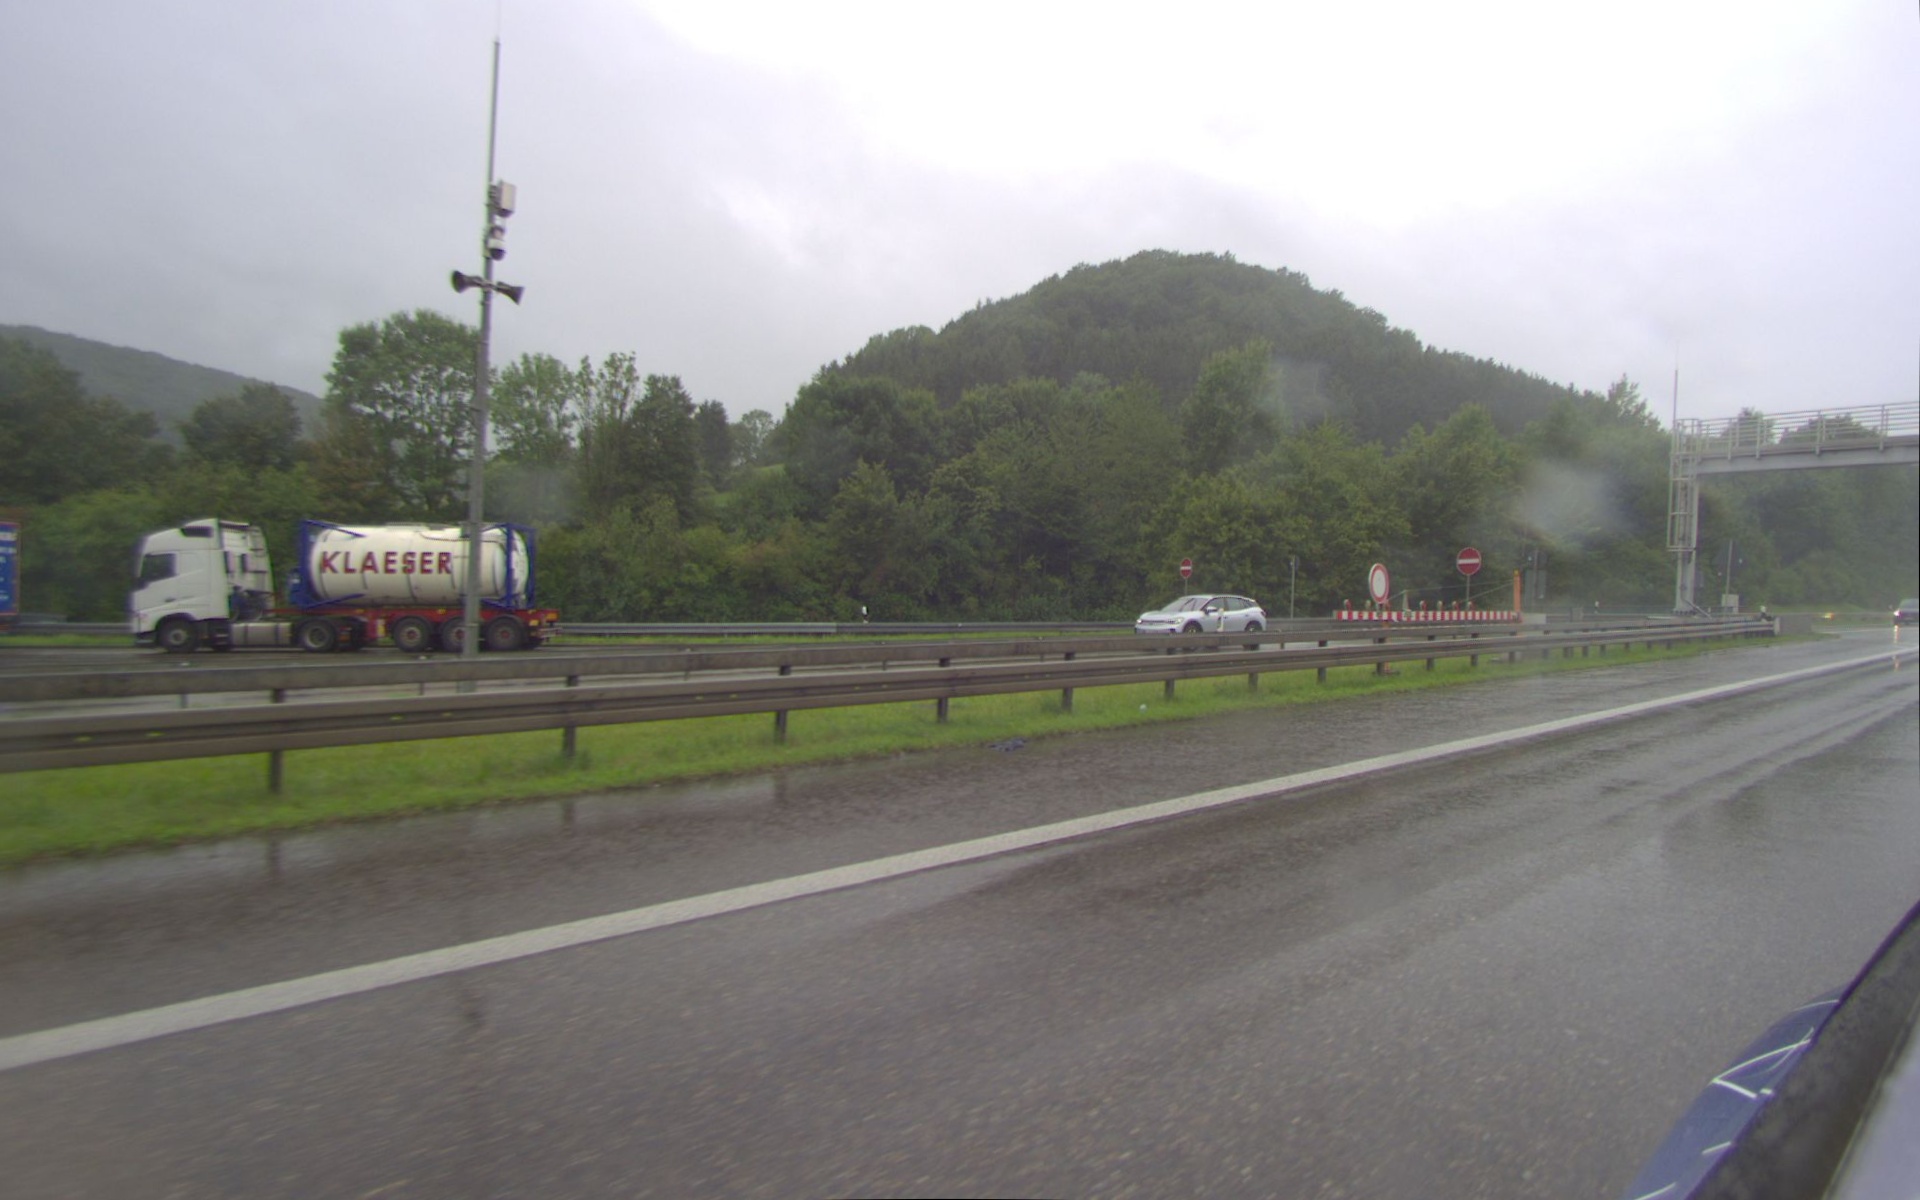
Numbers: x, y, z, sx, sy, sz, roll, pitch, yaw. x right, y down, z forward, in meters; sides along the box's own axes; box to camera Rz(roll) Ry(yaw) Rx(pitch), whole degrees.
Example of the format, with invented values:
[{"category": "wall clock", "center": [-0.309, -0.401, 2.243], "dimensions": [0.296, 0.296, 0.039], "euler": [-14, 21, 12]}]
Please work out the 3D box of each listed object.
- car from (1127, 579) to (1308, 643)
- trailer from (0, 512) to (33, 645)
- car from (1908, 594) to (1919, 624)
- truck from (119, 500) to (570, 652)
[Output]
[{"category": "car", "center": [7.809, 0.291, 30.454], "dimensions": [5.551, 1.772, 2.001], "euler": [0, 0, -32]}, {"category": "trailer", "center": [-34.205, -0.619, 29.248], "dimensions": [11.512, 3.950, 2.797], "euler": [0, 0, -6]}, {"category": "car", "center": [68.534, 0.635, 71.315], "dimensions": [3.926, 2.039, 1.860], "euler": [0, 0, -37]}, {"category": "truck", "center": [-18.341, -0.727, 30.927], "dimensions": [11.630, 4.310, 2.884], "euler": [0, 0, -7]}]
